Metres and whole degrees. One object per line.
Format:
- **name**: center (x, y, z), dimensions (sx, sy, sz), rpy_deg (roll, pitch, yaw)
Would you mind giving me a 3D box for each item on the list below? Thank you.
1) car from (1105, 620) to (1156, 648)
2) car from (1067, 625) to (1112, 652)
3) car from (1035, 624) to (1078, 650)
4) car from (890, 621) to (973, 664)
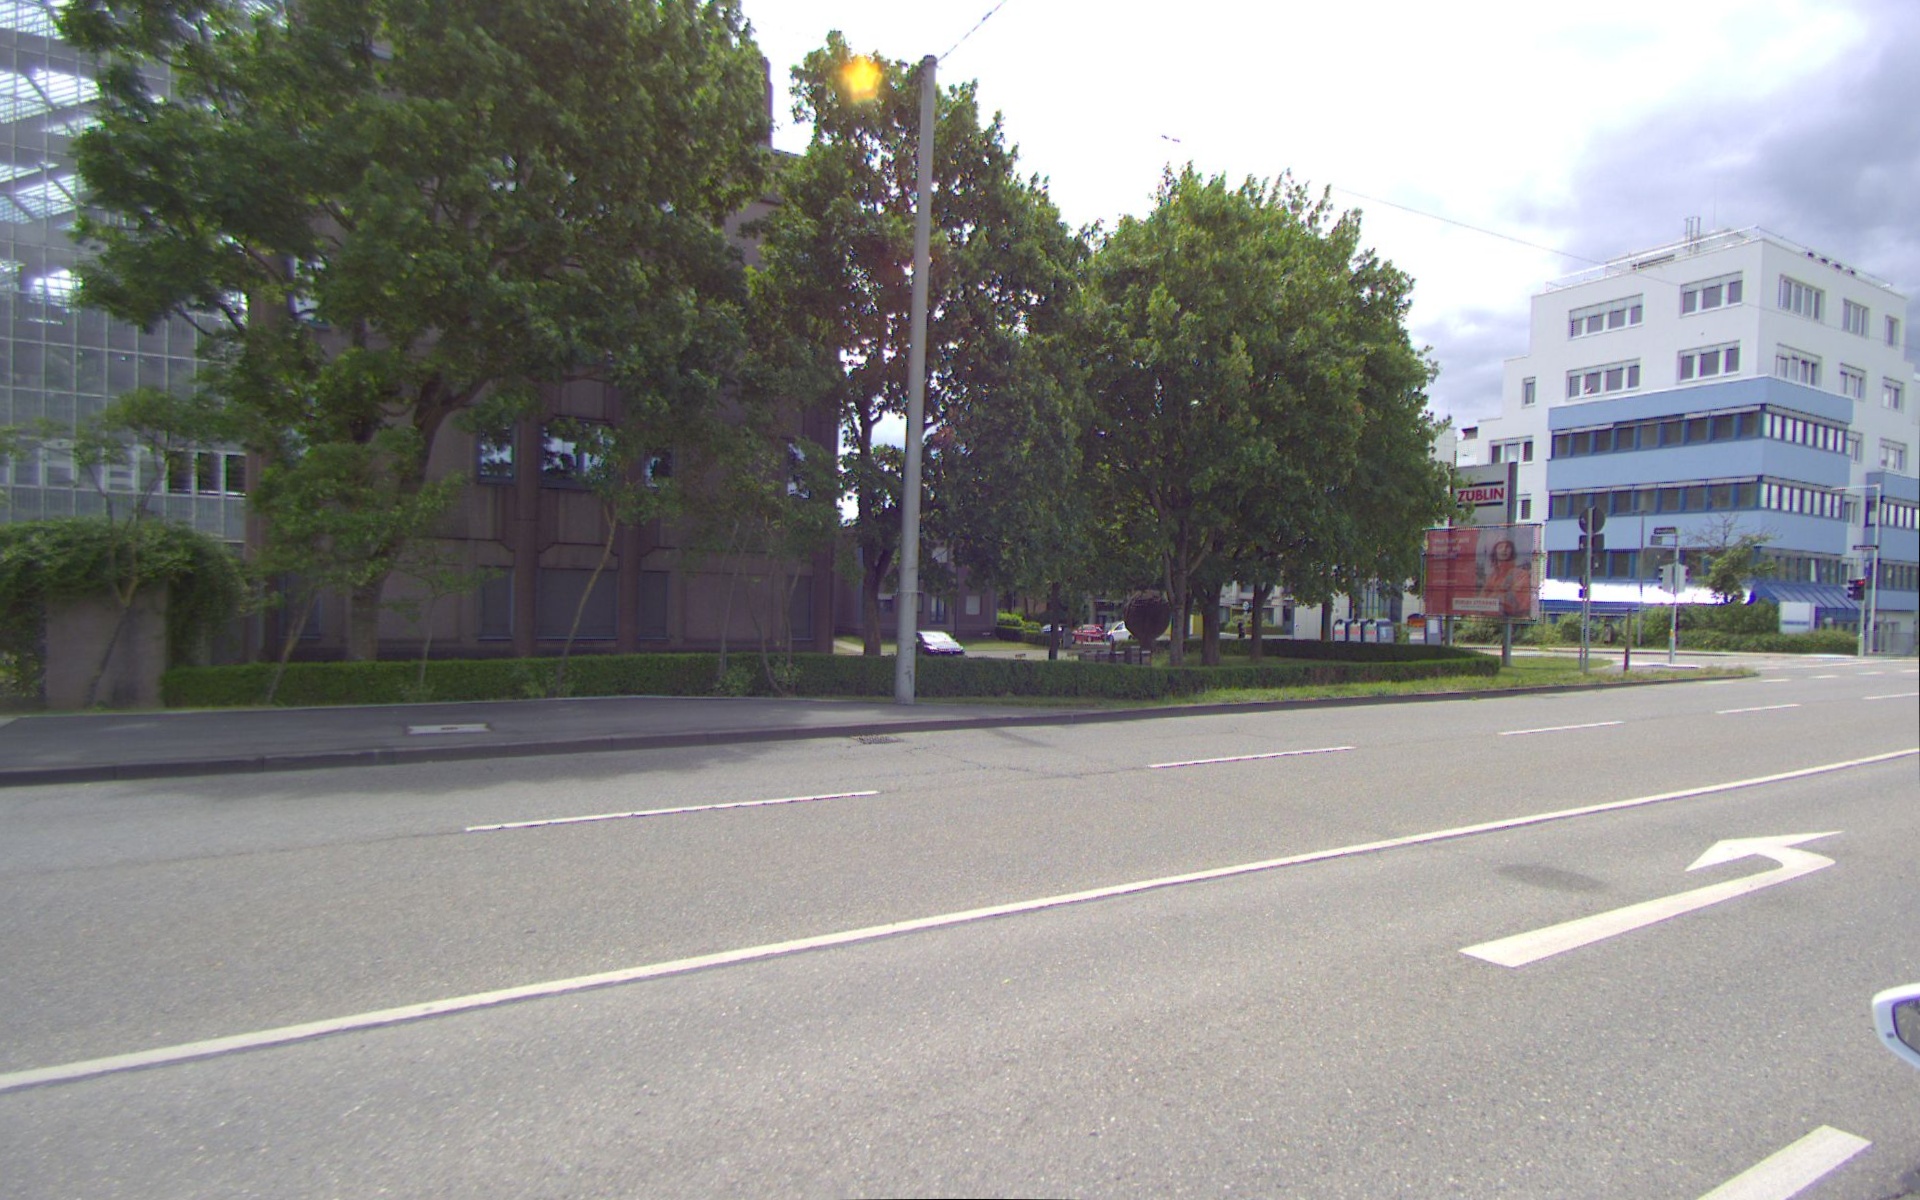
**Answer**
- **car**: center (13.425, 2.669, 79.178), dimensions (1.974, 2.007, 3.972), rpy_deg (2, 0, -27)
- **car**: center (10.820, 3.216, 84.190), dimensions (1.869, 2.040, 3.972), rpy_deg (2, 0, -27)
- **car**: center (8.490, 3.269, 88.853), dimensions (1.848, 2.040, 3.971), rpy_deg (2, 0, -27)
- **car**: center (-1.266, 1.801, 42.800), dimensions (1.767, 1.750, 3.965), rpy_deg (1, -3, -33)
